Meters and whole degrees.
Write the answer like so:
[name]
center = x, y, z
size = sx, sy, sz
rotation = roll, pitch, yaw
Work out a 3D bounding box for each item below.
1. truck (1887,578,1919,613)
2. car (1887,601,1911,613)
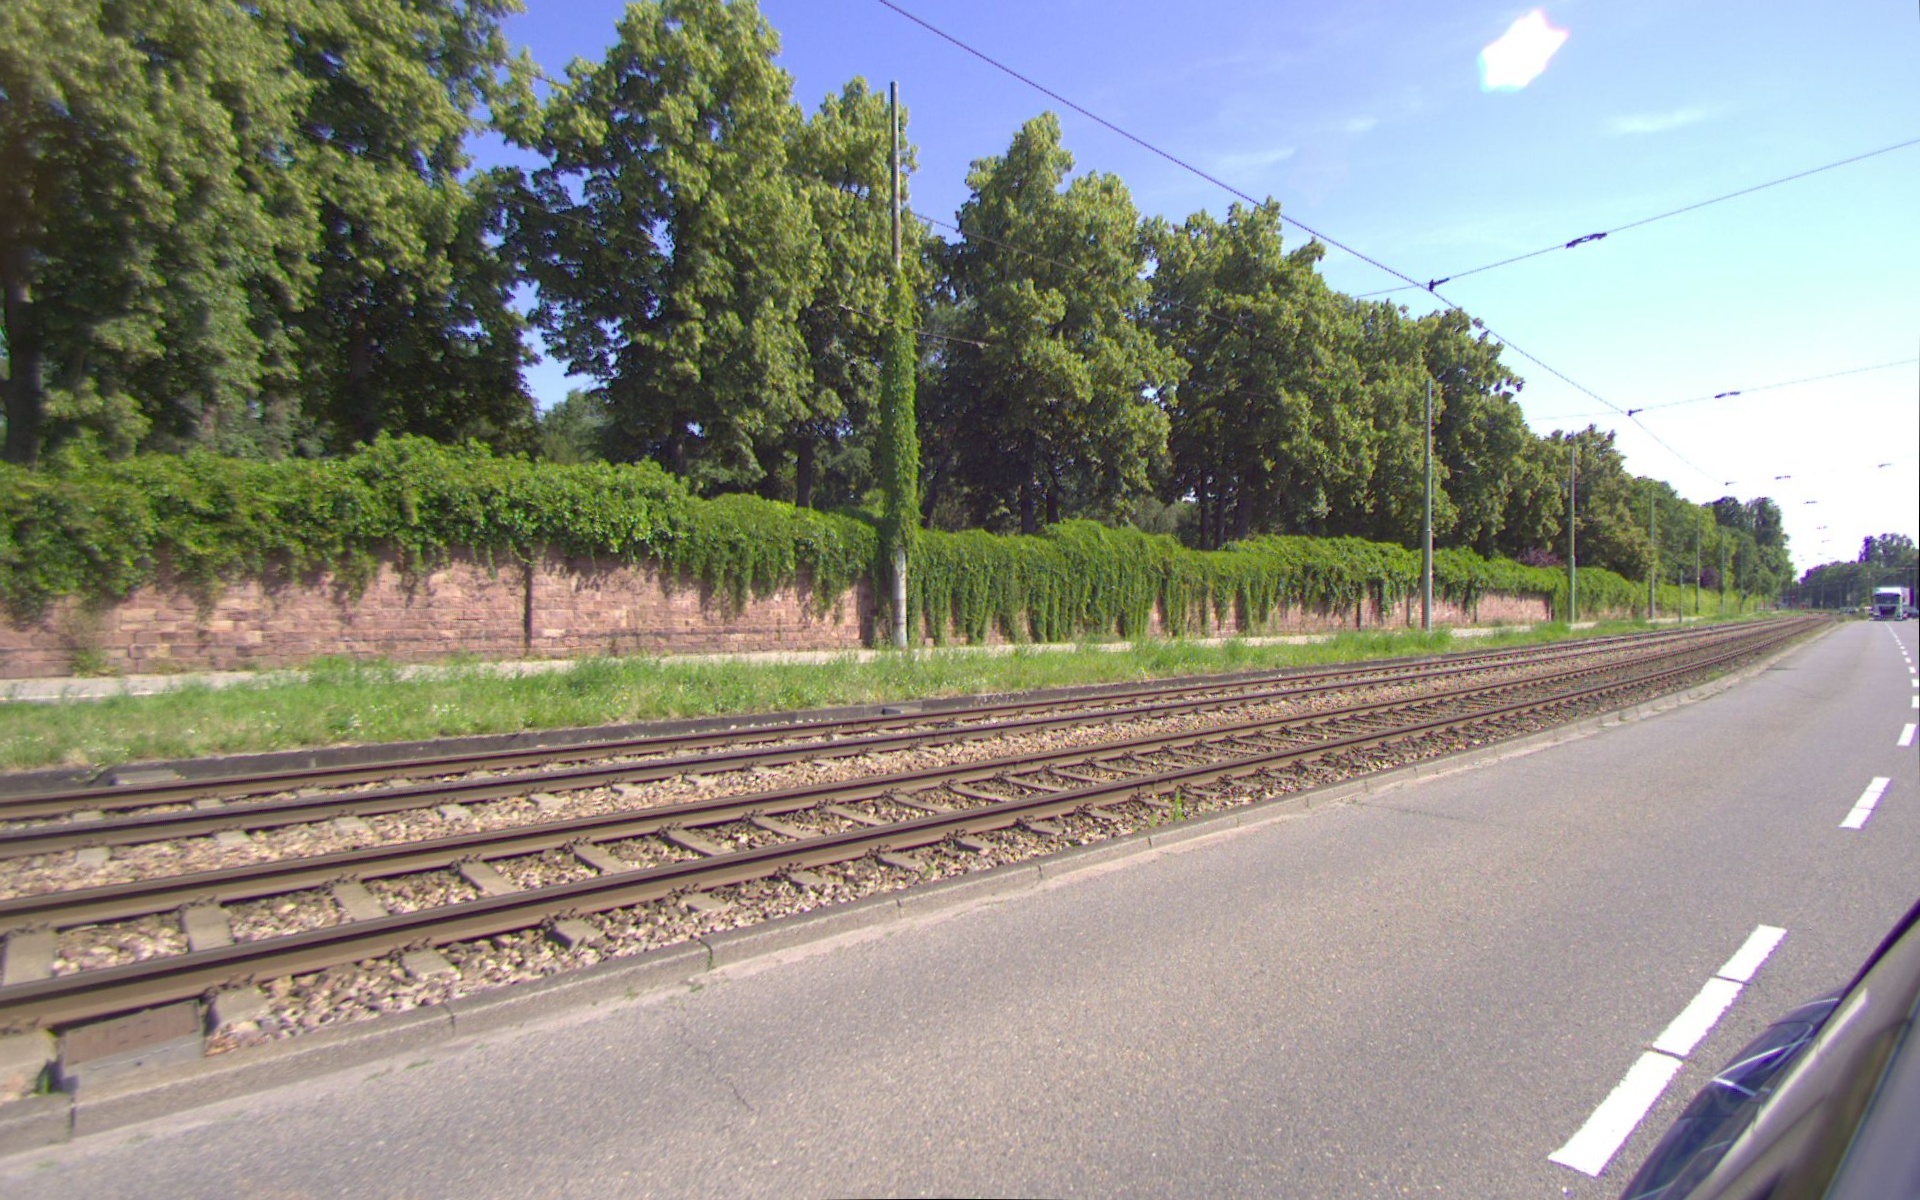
[truck]
center = 113.977, -0.455, 121.050
size = 14.049, 4.058, 2.851
rotation = 1, 0, -40
[car]
center = 129.054, 0.977, 139.134
size = 1.920, 1.623, 4.410
rotation = 0, 0, 36
